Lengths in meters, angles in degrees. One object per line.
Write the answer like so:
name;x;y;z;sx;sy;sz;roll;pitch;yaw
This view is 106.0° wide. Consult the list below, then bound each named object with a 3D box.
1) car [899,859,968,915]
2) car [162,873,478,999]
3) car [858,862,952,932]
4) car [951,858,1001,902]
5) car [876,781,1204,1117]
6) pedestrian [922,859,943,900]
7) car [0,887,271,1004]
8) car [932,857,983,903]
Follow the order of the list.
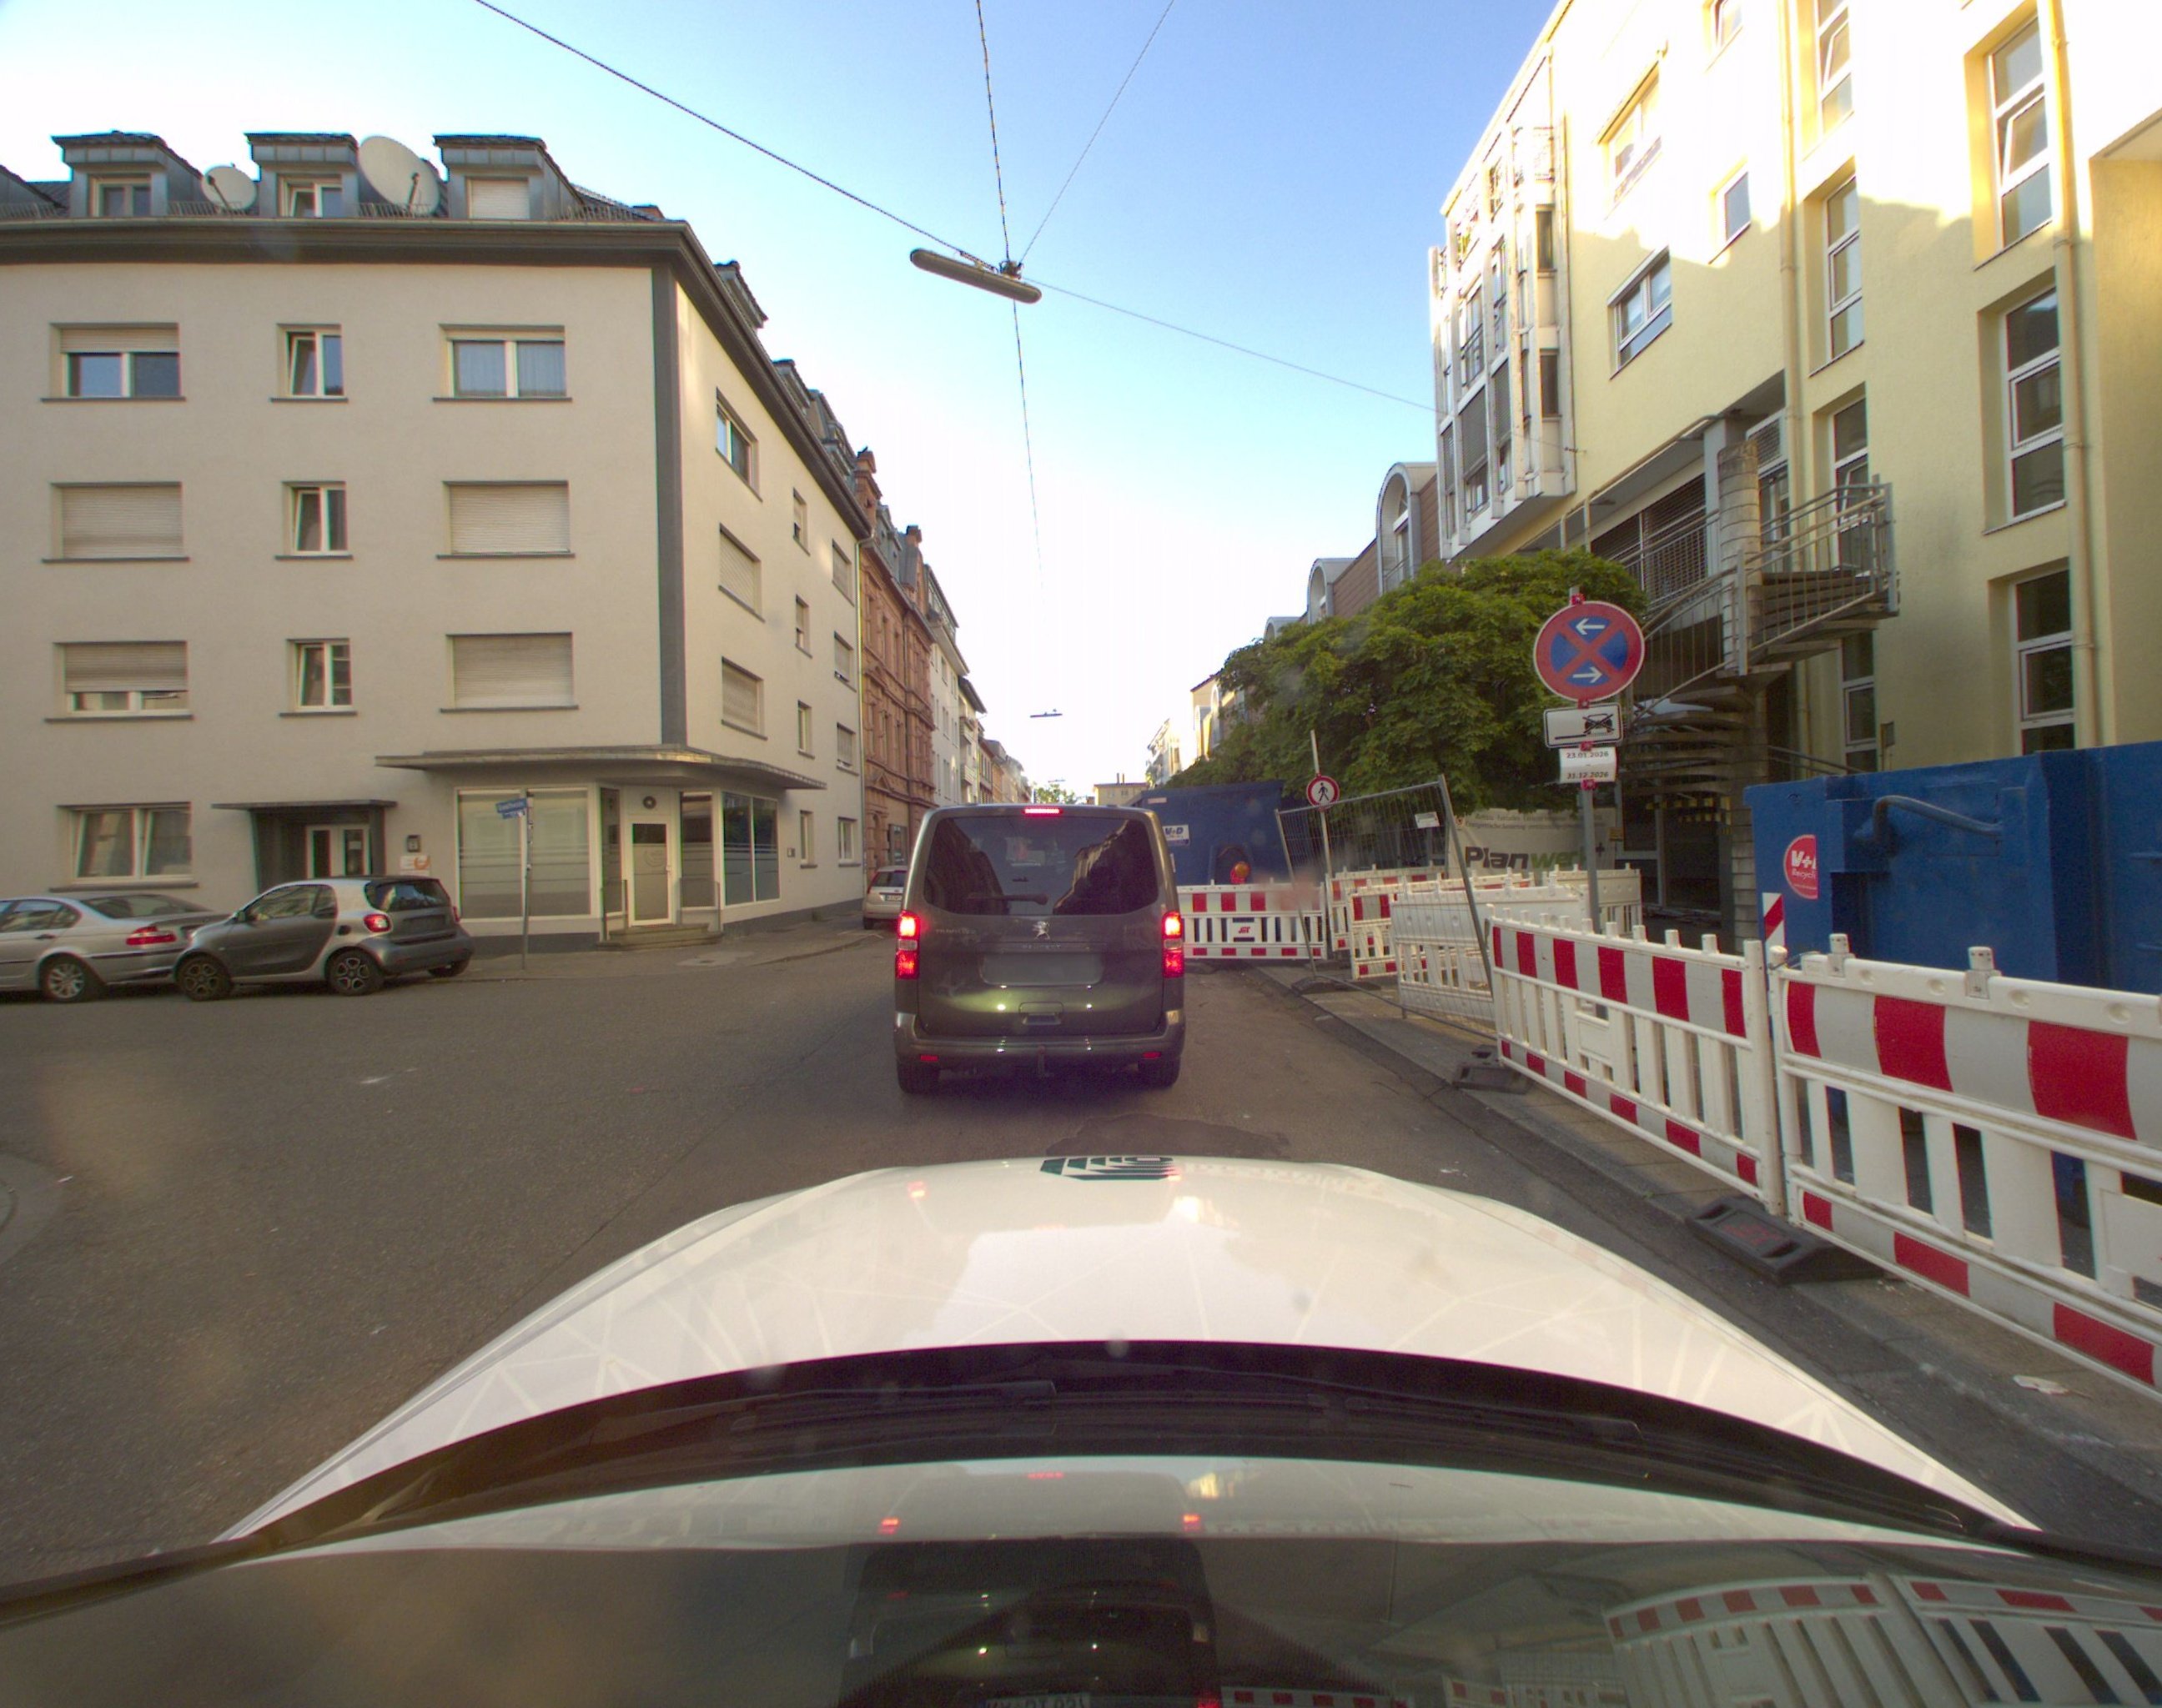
car;-4.445;0.978;24.962;1.653;1.525;3.412;3;-1;-4
car;-10.251;1.060;11.143;2.778;1.540;1.593;0;0;-1
car;-4.146;0.975;19.642;1.653;1.460;3.412;3;-1;-4
car;-4.538;1.108;35.697;1.888;1.720;3.748;3;-1;-4
car;-0.373;0.558;6.810;1.862;1.886;4.228;-1;-1;-4
pedestrian;-6.238;1.054;34.180;0.739;1.664;0.702;-2;0;-5
car;-14.205;1.241;11.301;4.193;1.403;1.602;-1;0;-2
car;-4.795;0.993;32.058;1.663;1.666;3.087;3;-1;-4
